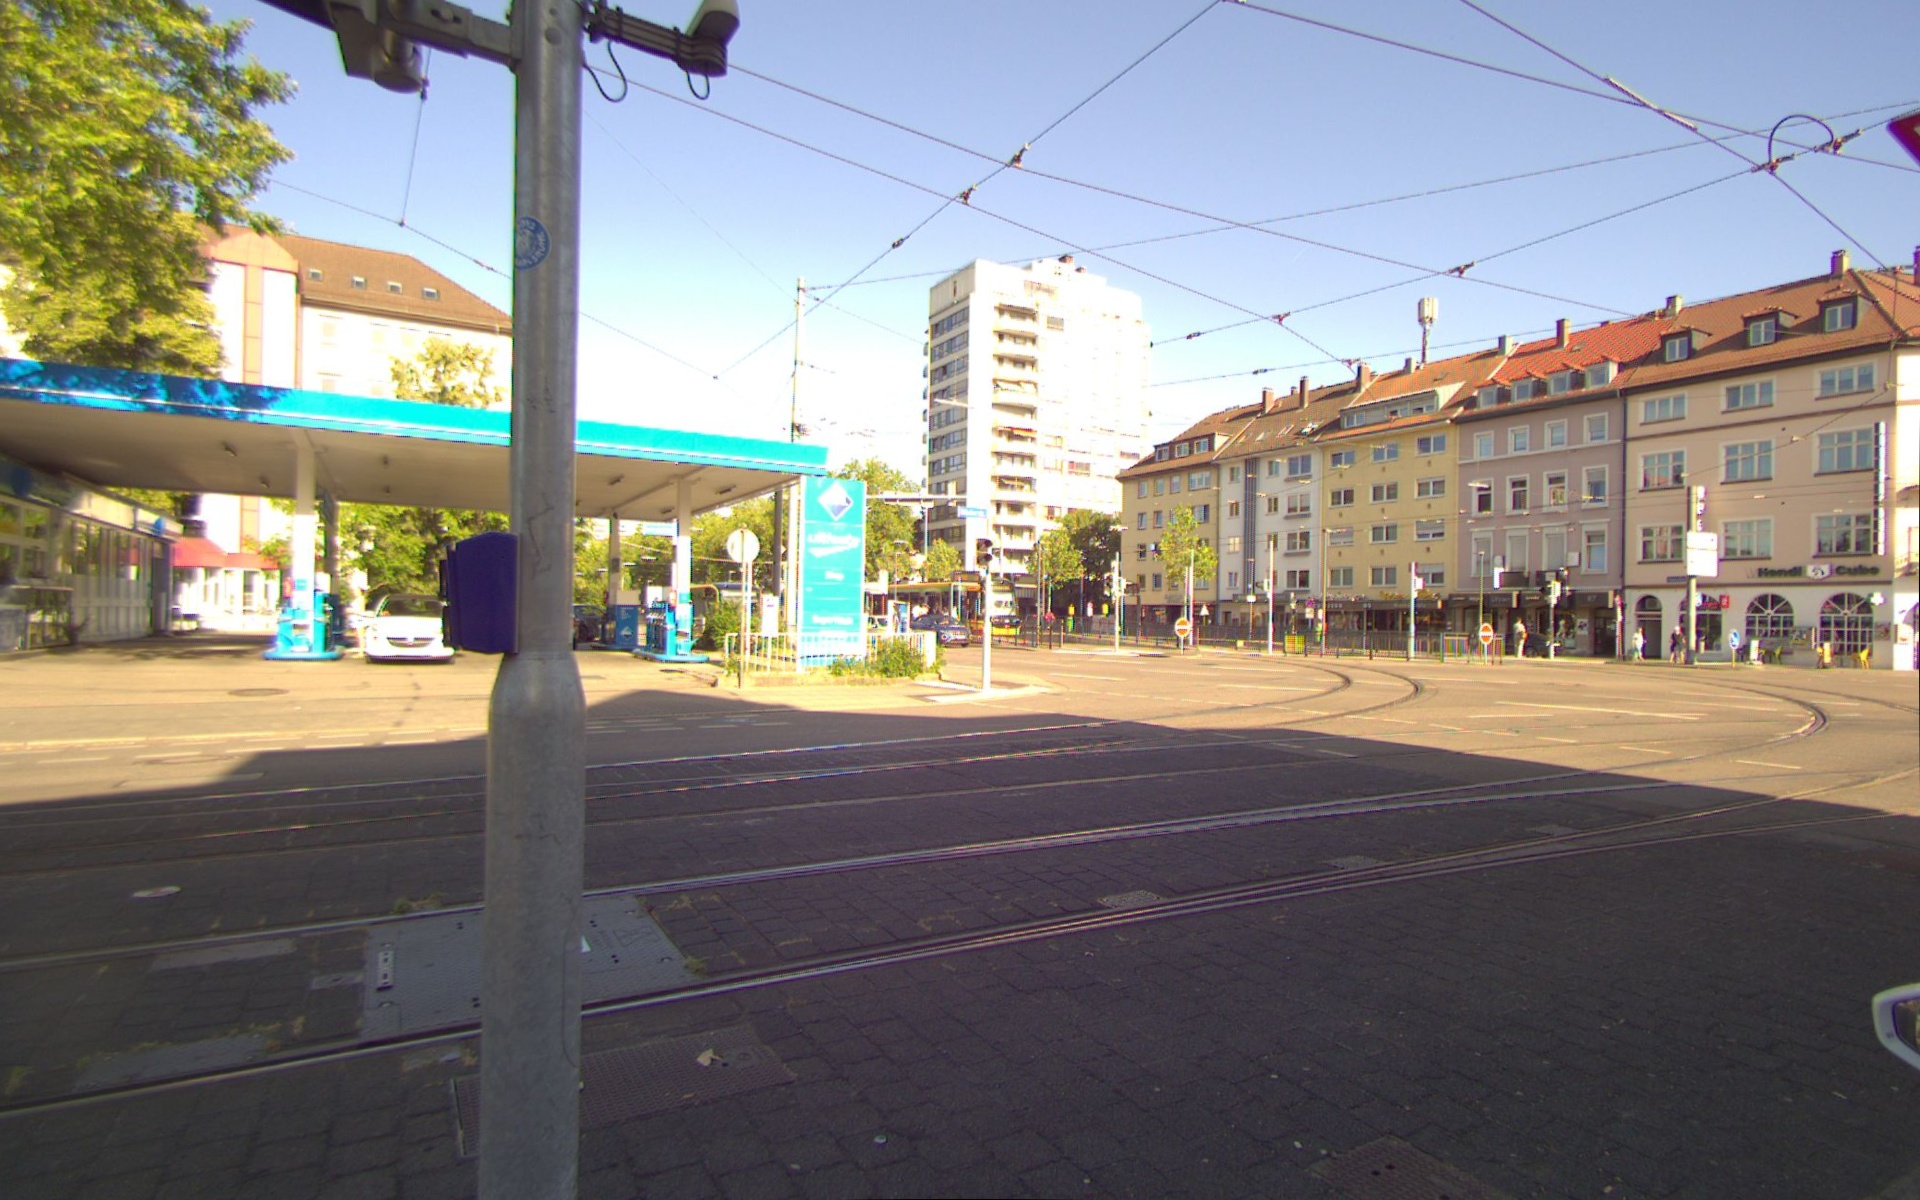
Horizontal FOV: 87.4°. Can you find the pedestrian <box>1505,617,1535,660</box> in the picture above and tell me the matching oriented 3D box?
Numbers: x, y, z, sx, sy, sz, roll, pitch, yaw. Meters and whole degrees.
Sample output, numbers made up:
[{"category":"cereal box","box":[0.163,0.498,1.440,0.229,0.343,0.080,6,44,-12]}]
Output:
[{"category":"pedestrian","box":[24.500,1.694,43.958,0.801,1.842,0.871,1,-1,-29]}]

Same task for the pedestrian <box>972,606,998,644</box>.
[{"category":"pedestrian","box":[1.215,1.218,48.492,0.902,1.826,0.887,1,-1,-33]}]

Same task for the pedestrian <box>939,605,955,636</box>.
[{"category":"pedestrian","box":[-0.731,1.114,55.166,0.549,1.721,0.740,1,-1,-33]}]

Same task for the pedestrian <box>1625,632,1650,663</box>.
[{"category":"pedestrian","box":[35.241,2.464,52.284,0.849,1.547,0.786,1,-1,-29]}]

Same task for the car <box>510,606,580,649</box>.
[{"category":"car","box":[-13.497,0.867,32.578,1.752,1.332,3.520,1,-1,-28]}]

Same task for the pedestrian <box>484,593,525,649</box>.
[{"category":"pedestrian","box":[-15.339,0.699,33.805,0.896,1.826,0.893,0,-1,34]}]

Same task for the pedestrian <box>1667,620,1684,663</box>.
[{"category":"pedestrian","box":[34.214,1.981,48.024,0.498,2.040,0.507,1,-1,-27]}]

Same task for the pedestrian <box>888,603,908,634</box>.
[{"category":"pedestrian","box":[-3.694,1.091,59.912,0.902,1.826,0.887,1,-1,-33]}]

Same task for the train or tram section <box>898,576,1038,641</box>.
[{"category":"train or tram section","box":[0.233,0.519,58.965,3.252,3.459,10.157,1,-1,-33]}]

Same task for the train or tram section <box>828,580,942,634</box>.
[{"category":"train or tram section","box":[-5.248,0.522,67.583,3.252,3.335,10.157,1,-1,-33]}]

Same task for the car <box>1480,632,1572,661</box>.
[{"category":"car","box":[30.778,2.494,54.718,1.980,1.483,3.962,1,-1,-34]}]

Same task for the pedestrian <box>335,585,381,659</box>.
[{"category":"pedestrian","box":[-13.856,0.508,23.128,0.801,1.652,0.643,1,-1,-24]}]

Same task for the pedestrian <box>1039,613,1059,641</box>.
[{"category":"pedestrian","box":[6.422,1.948,72.728,0.942,2.040,1.214,1,-1,-25]}]

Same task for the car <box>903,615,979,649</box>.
[{"category":"car","box":[-0.955,1.493,48.350,1.937,1.475,4.077,1,0,-30]}]

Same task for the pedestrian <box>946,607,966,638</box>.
[{"category":"pedestrian","box":[-0.234,1.198,53.809,0.791,1.646,0.706,1,-1,-33]}]

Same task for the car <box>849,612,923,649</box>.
[{"category":"car","box":[-3.503,1.395,46.807,1.976,1.615,3.970,1,-1,-29]}]

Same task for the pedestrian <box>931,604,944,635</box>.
[{"category":"pedestrian","box":[-1.264,1.102,55.973,0.491,1.721,0.553,1,-1,-33]}]

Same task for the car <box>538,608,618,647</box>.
[{"category":"car","box":[-17.200,1.215,45.383,1.960,1.685,4.001,1,-1,2]}]

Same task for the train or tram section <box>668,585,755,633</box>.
[{"category":"train or tram section","box":[-15.028,0.454,60.039,2.233,2.627,10.398,2,0,-30]}]

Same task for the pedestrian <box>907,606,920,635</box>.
[{"category":"pedestrian","box":[-2.736,1.210,59.124,0.500,1.646,0.605,0,-1,32]}]

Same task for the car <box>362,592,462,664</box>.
[{"category":"car","box":[-12.267,0.609,22.434,1.773,1.461,3.968,2,-1,-30]}]

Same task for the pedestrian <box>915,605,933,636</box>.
[{"category":"pedestrian","box":[-2.054,1.158,56.829,0.772,1.721,0.693,1,-1,-29]}]

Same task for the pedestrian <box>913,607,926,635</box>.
[{"category":"pedestrian","box":[-2.384,1.220,58.983,0.506,1.646,0.666,0,-1,30]}]
